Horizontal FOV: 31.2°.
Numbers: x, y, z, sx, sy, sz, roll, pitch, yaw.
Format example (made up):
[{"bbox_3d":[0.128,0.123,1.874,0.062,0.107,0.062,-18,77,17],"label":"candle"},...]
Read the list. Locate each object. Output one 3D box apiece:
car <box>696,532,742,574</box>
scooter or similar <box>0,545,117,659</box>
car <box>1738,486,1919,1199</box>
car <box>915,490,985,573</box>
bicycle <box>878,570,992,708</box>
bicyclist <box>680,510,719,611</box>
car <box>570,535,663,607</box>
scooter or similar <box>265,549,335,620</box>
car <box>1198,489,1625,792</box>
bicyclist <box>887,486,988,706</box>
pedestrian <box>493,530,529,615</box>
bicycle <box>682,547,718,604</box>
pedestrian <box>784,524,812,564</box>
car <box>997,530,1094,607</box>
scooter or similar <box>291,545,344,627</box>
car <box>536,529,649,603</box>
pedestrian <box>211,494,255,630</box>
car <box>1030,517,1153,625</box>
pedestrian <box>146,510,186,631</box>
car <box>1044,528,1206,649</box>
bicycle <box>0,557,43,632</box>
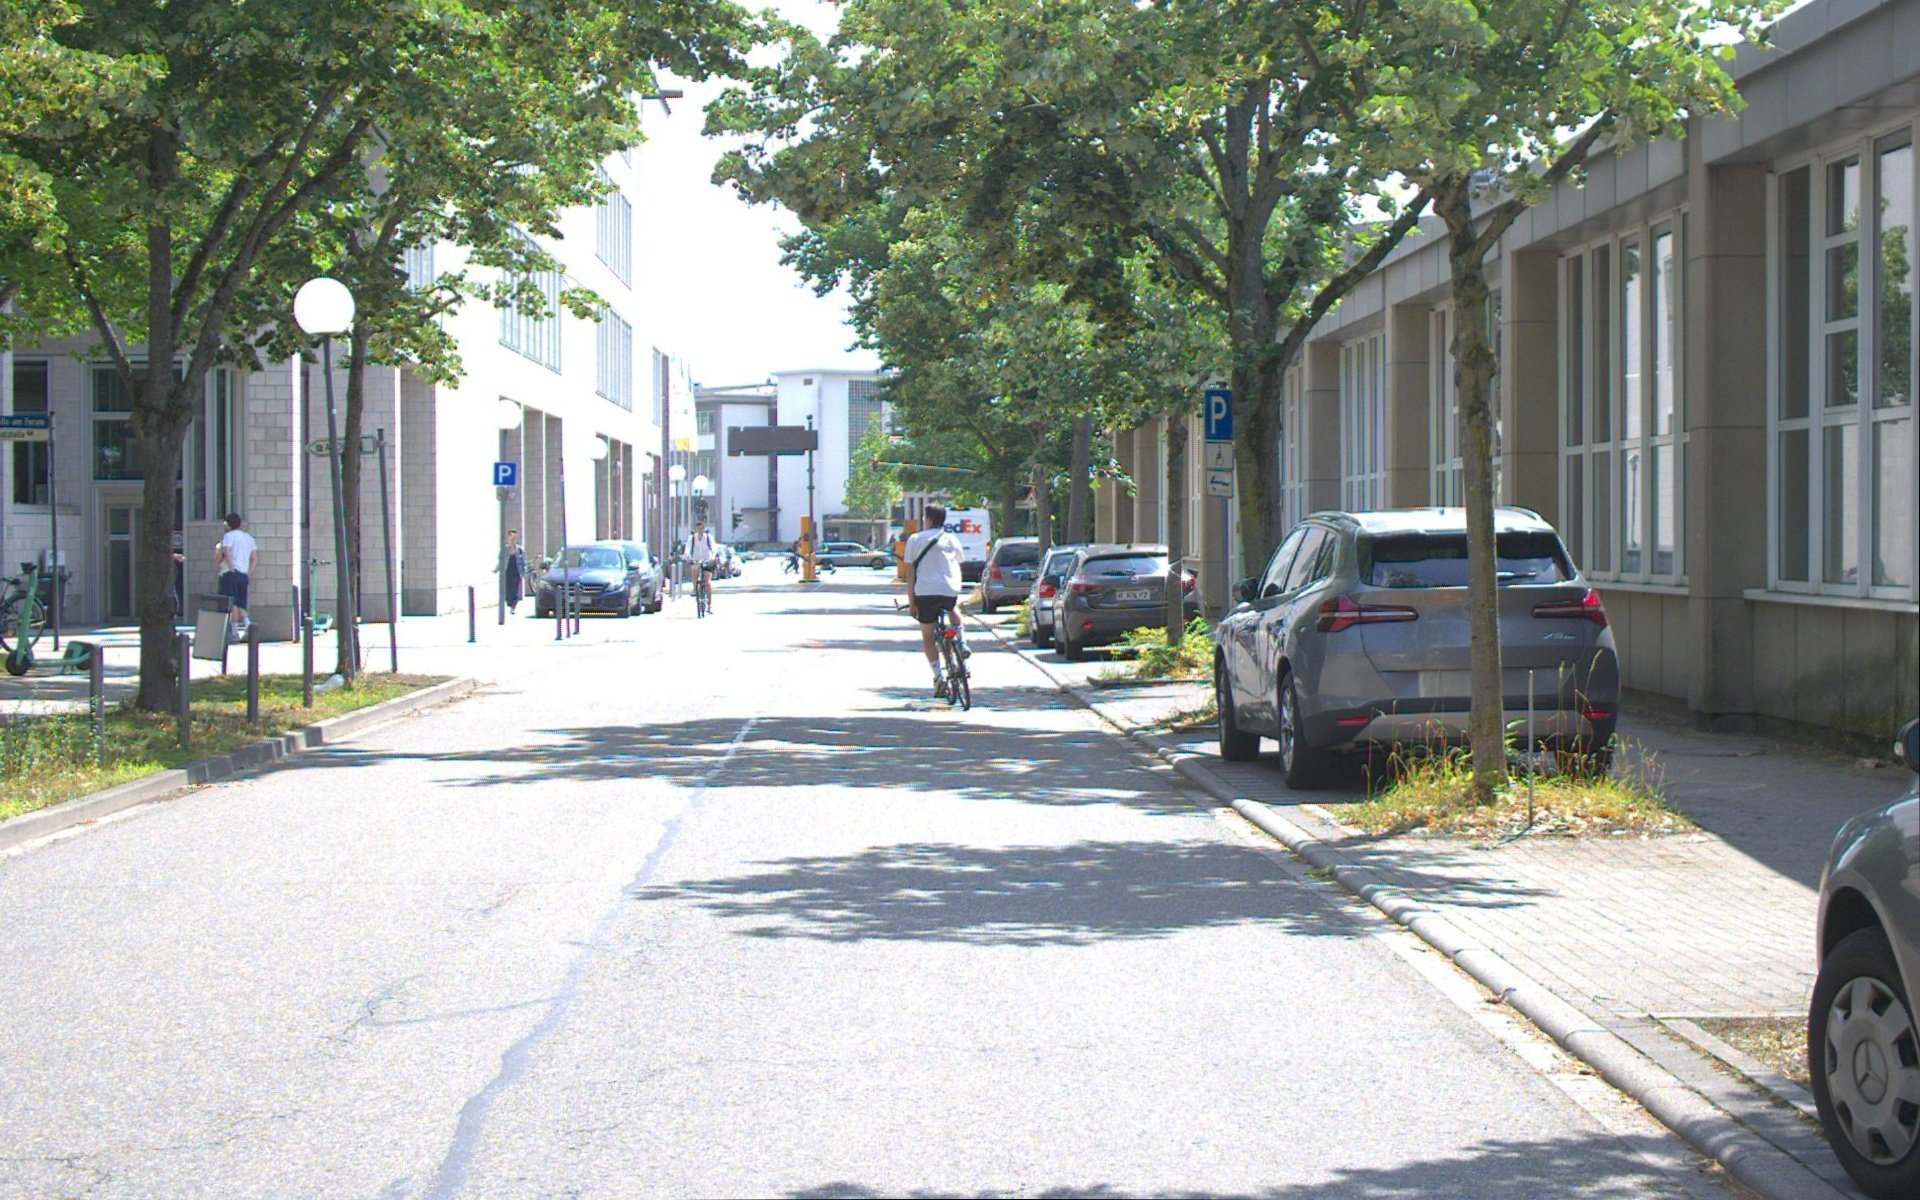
[{"bbox_3d":[-9.374,-1.824,133.995,1.646,1.493,3.729,0,-1,-2],"label":"car"},{"bbox_3d":[-9.507,0.016,36.198,0.339,1.171,1.326,1,1,34],"label":"scooter or similar"},{"bbox_3d":[2.836,0.550,6.228,1.704,1.568,4.141,-1,1,-3],"label":"car"},{"bbox_3d":[-0.340,-2.166,108.940,2.083,2.531,4.316,1,1,-2],"label":"car"},{"bbox_3d":[-0.210,0.332,31.956,0.882,1.195,2.749,0,1,3],"label":"bicycle"},{"bbox_3d":[-5.256,-0.798,69.416,0.711,2.007,1.019,-1,1,-3],"label":"bicyclist"},{"bbox_3d":[-7.304,-0.626,73.406,1.631,1.479,4.178,0,1,-1],"label":"car"},{"bbox_3d":[-11.389,-0.277,59.334,0.525,1.206,1.557,-1,1,-39],"label":"scooter or similar"},{"bbox_3d":[2.706,0.218,21.672,1.822,1.658,4.584,-1,0,-3],"label":"car"},{"bbox_3d":[-0.206,-0.041,31.902,0.873,2.007,0.849,0,1,3],"label":"bicyclist"},{"bbox_3d":[-9.064,-0.552,69.377,0.649,1.695,0.890,0,1,-12],"label":"pedestrian"},{"bbox_3d":[-5.245,-0.505,69.531,0.685,1.126,1.889,0,1,-3],"label":"bicycle"},{"bbox_3d":[-8.480,-2.928,179.955,1.416,2.100,0.995,1,1,-4],"label":"pedestrian"},{"bbox_3d":[1.792,-0.685,73.192,1.858,1.568,4.000,-1,1,-1],"label":"car"},{"bbox_3d":[-9.760,-0.220,52.253,0.454,1.219,1.549,0,1,2],"label":"scooter or similar"},{"bbox_3d":[-7.295,-0.679,68.600,1.766,1.423,4.234,0,1,0],"label":"car"},{"bbox_3d":[-10.489,-0.551,49.604,0.412,1.935,0.663,0,1,-30],"label":"pedestrian"},{"bbox_3d":[1.912,-0.450,50.909,1.616,1.533,3.780,0,1,-1],"label":"car"},{"bbox_3d":[-11.629,-0.438,50.356,0.441,1.769,0.451,0,1,-32],"label":"pedestrian"},{"bbox_3d":[2.116,-0.186,45.186,1.780,1.471,4.462,-2,1,-1],"label":"car"},{"bbox_3d":[-13.965,-0.091,50.382,0.465,1.011,1.865,1,3,2],"label":"bicycle"}]
